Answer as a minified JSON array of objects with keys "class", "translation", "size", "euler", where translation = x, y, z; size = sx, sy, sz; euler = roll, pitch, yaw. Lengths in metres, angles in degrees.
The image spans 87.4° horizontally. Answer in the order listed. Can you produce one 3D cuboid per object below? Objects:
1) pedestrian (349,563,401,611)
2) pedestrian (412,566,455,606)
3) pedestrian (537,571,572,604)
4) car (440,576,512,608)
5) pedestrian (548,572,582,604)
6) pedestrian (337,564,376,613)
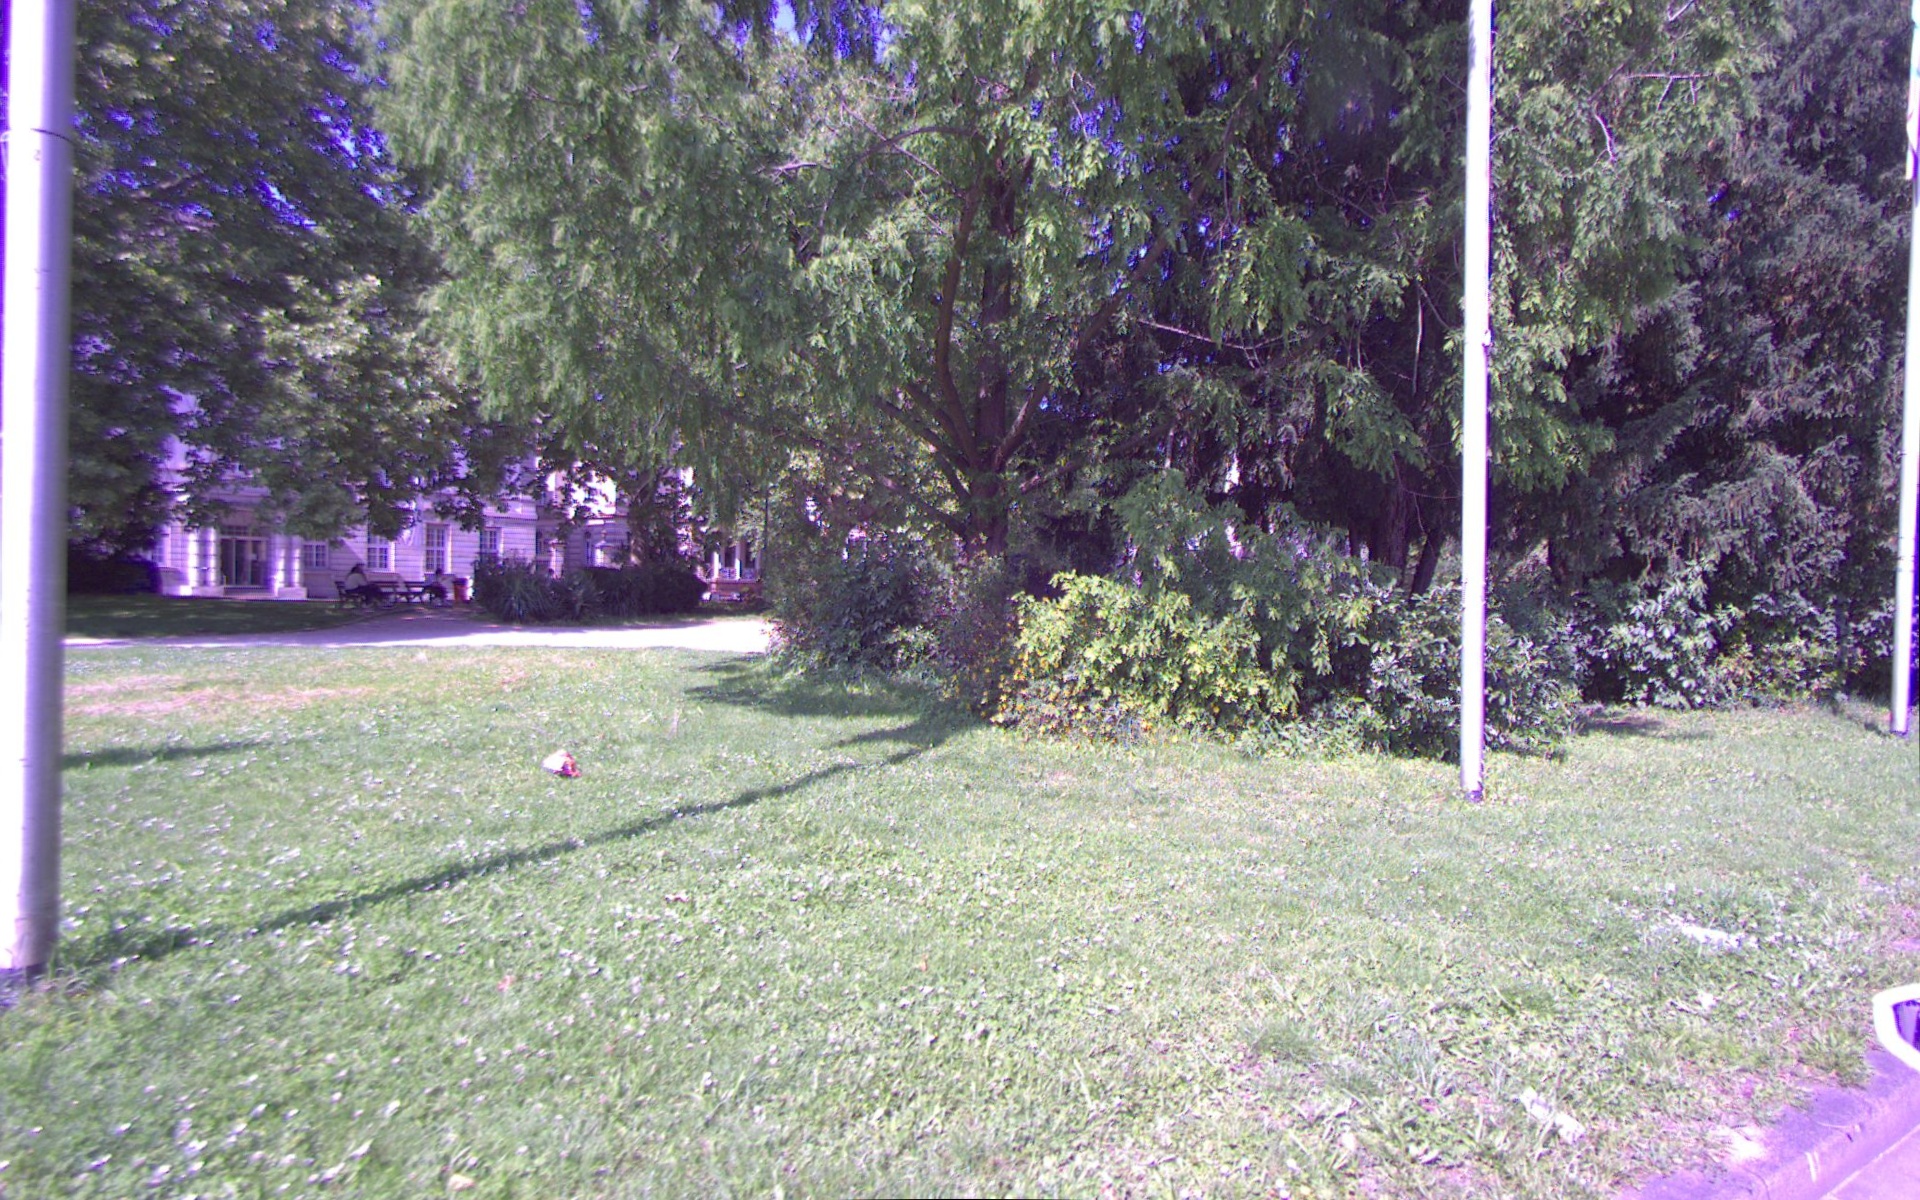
[{"class":"pedestrian","translation":[-15.793,-0.351,27.137],"size":[1.040,1.242,0.754],"euler":[1,1,-14]},{"class":"pedestrian","translation":[-16.725,-0.449,31.930],"size":[1.040,1.242,0.754],"euler":[1,1,-14]},{"class":"pedestrian","translation":[-16.097,-0.501,39.862],"size":[1.037,1.242,0.756],"euler":[2,1,4]},{"class":"car","translation":[-29.070,-0.460,60.479],"size":[1.841,1.824,4.002],"euler":[1,0,11]},{"class":"pedestrian","translation":[-16.002,-0.497,40.695],"size":[1.037,1.242,0.756],"euler":[2,1,4]},{"class":"pedestrian","translation":[-15.854,-0.298,26.382],"size":[0.659,1.242,0.754],"euler":[1,1,-14]}]
